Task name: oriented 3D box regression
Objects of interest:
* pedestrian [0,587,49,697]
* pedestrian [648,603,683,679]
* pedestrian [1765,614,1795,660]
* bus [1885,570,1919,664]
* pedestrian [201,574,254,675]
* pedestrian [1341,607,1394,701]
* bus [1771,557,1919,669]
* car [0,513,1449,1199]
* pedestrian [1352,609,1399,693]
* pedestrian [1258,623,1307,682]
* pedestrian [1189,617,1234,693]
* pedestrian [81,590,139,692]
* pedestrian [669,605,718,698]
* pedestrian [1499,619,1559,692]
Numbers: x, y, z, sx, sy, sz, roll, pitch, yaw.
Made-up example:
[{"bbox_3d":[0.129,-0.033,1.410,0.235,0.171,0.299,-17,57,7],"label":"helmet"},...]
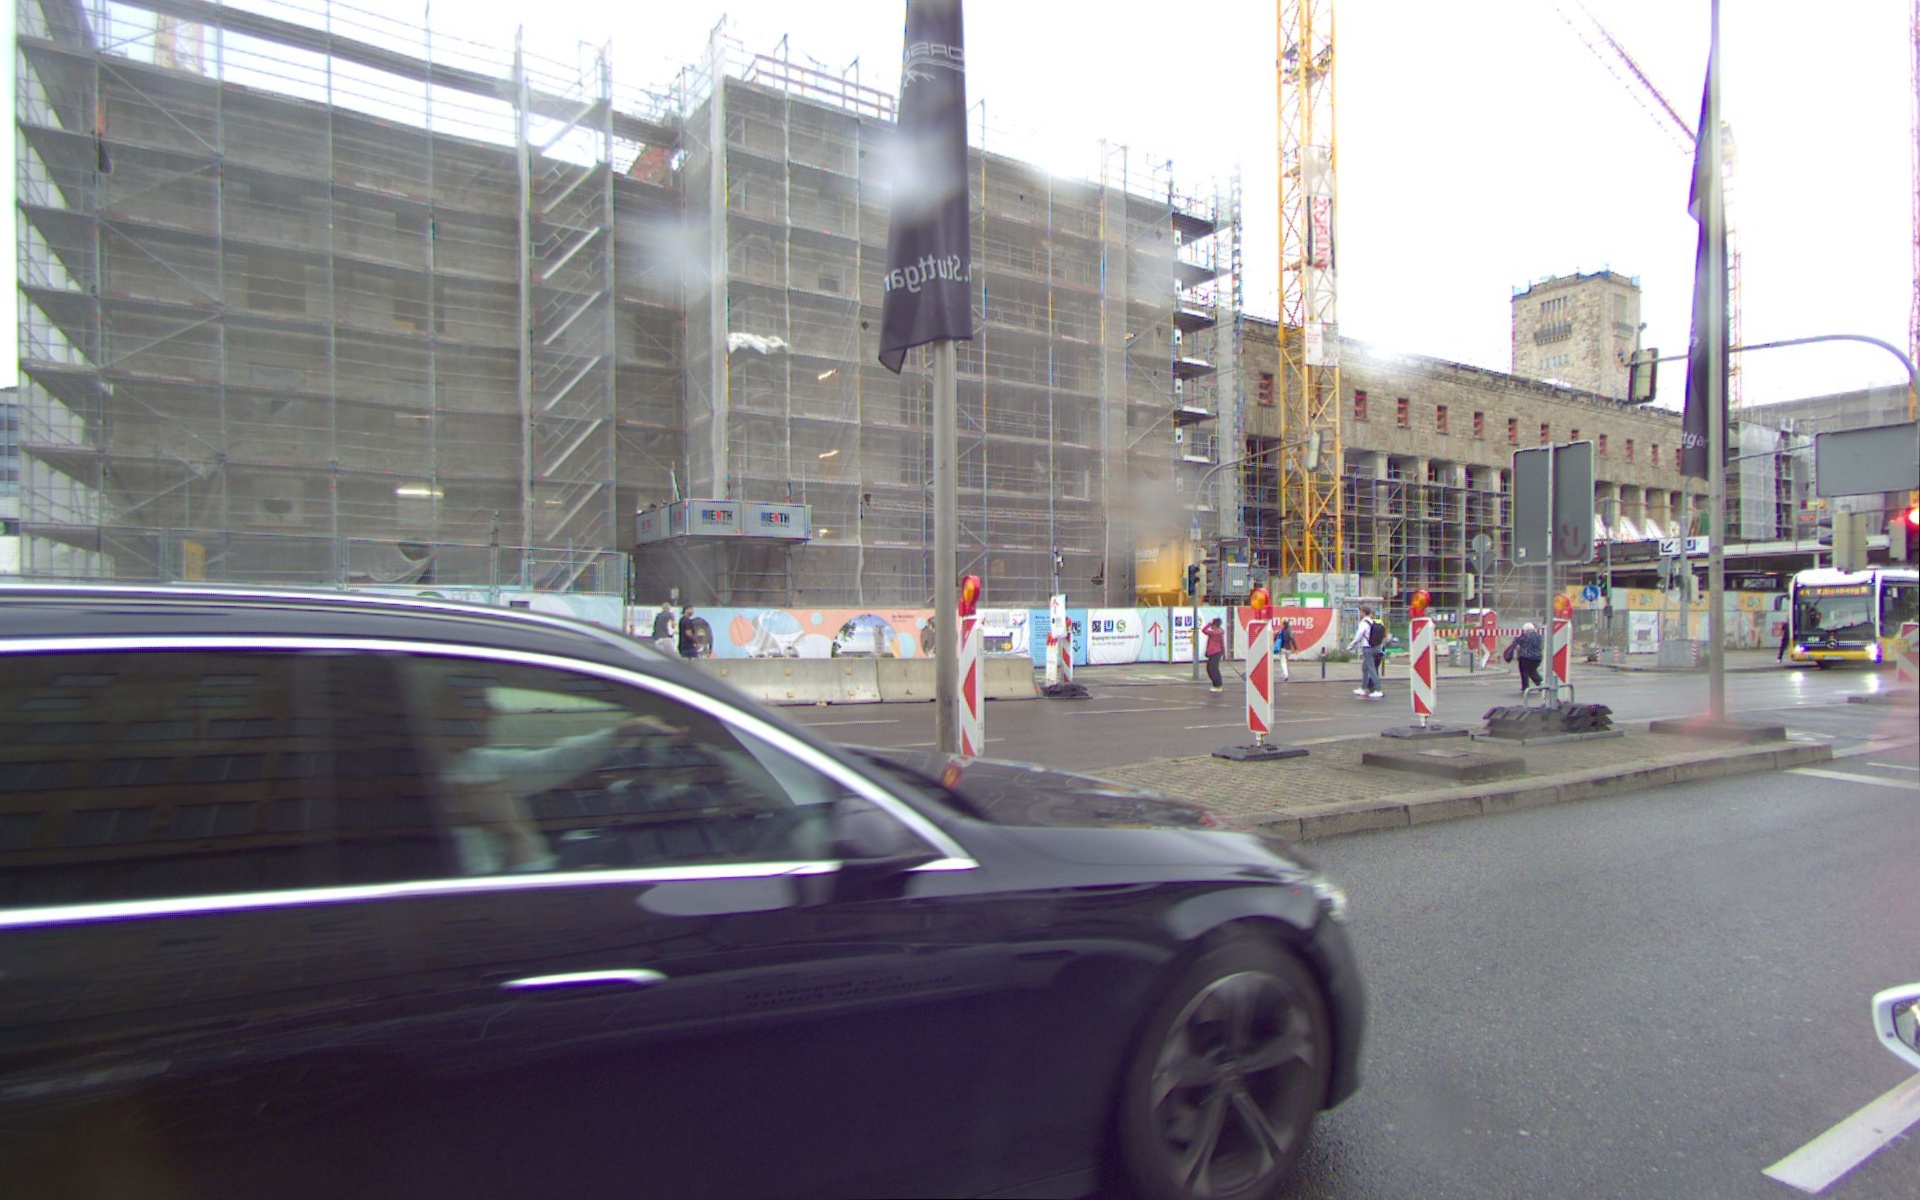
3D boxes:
[{"bbox_3d":[-16.205,0.719,17.257,0.709,1.860,0.478,1,0,-30],"label":"pedestrian"},{"bbox_3d":[-7.341,1.012,25.027,0.709,1.860,0.478,1,0,-30],"label":"pedestrian"},{"bbox_3d":[30.585,1.382,37.465,0.637,1.703,0.656,1,0,-30],"label":"pedestrian"},{"bbox_3d":[42.078,0.799,41.599,10.092,3.650,2.655,2,0,-30],"label":"bus"},{"bbox_3d":[-13.673,0.455,18.762,0.709,1.860,0.478,1,0,-30],"label":"pedestrian"},{"bbox_3d":[8.619,1.127,21.264,0.614,1.915,0.793,1,0,-38],"label":"pedestrian"},{"bbox_3d":[33.335,0.541,36.410,10.119,3.650,2.655,2,0,-30],"label":"bus"},{"bbox_3d":[-1.059,0.641,2.459,4.533,1.489,1.846,2,0,-30],"label":"car"},{"bbox_3d":[9.456,1.150,22.861,0.810,1.860,0.575,1,0,-30],"label":"pedestrian"},{"bbox_3d":[8.969,1.446,27.939,0.890,1.584,0.909,1,0,-33],"label":"pedestrian"},{"bbox_3d":[5.829,1.266,23.306,0.613,1.740,0.794,1,-2,-33],"label":"pedestrian"},{"bbox_3d":[-15.824,0.757,18.718,0.709,1.860,0.478,1,0,-30],"label":"pedestrian"},{"bbox_3d":[-5.490,1.042,20.666,0.810,1.860,0.575,1,0,-30],"label":"pedestrian"},{"bbox_3d":[12.824,1.247,22.663,0.772,1.581,0.874,1,0,-8],"label":"pedestrian"}]
